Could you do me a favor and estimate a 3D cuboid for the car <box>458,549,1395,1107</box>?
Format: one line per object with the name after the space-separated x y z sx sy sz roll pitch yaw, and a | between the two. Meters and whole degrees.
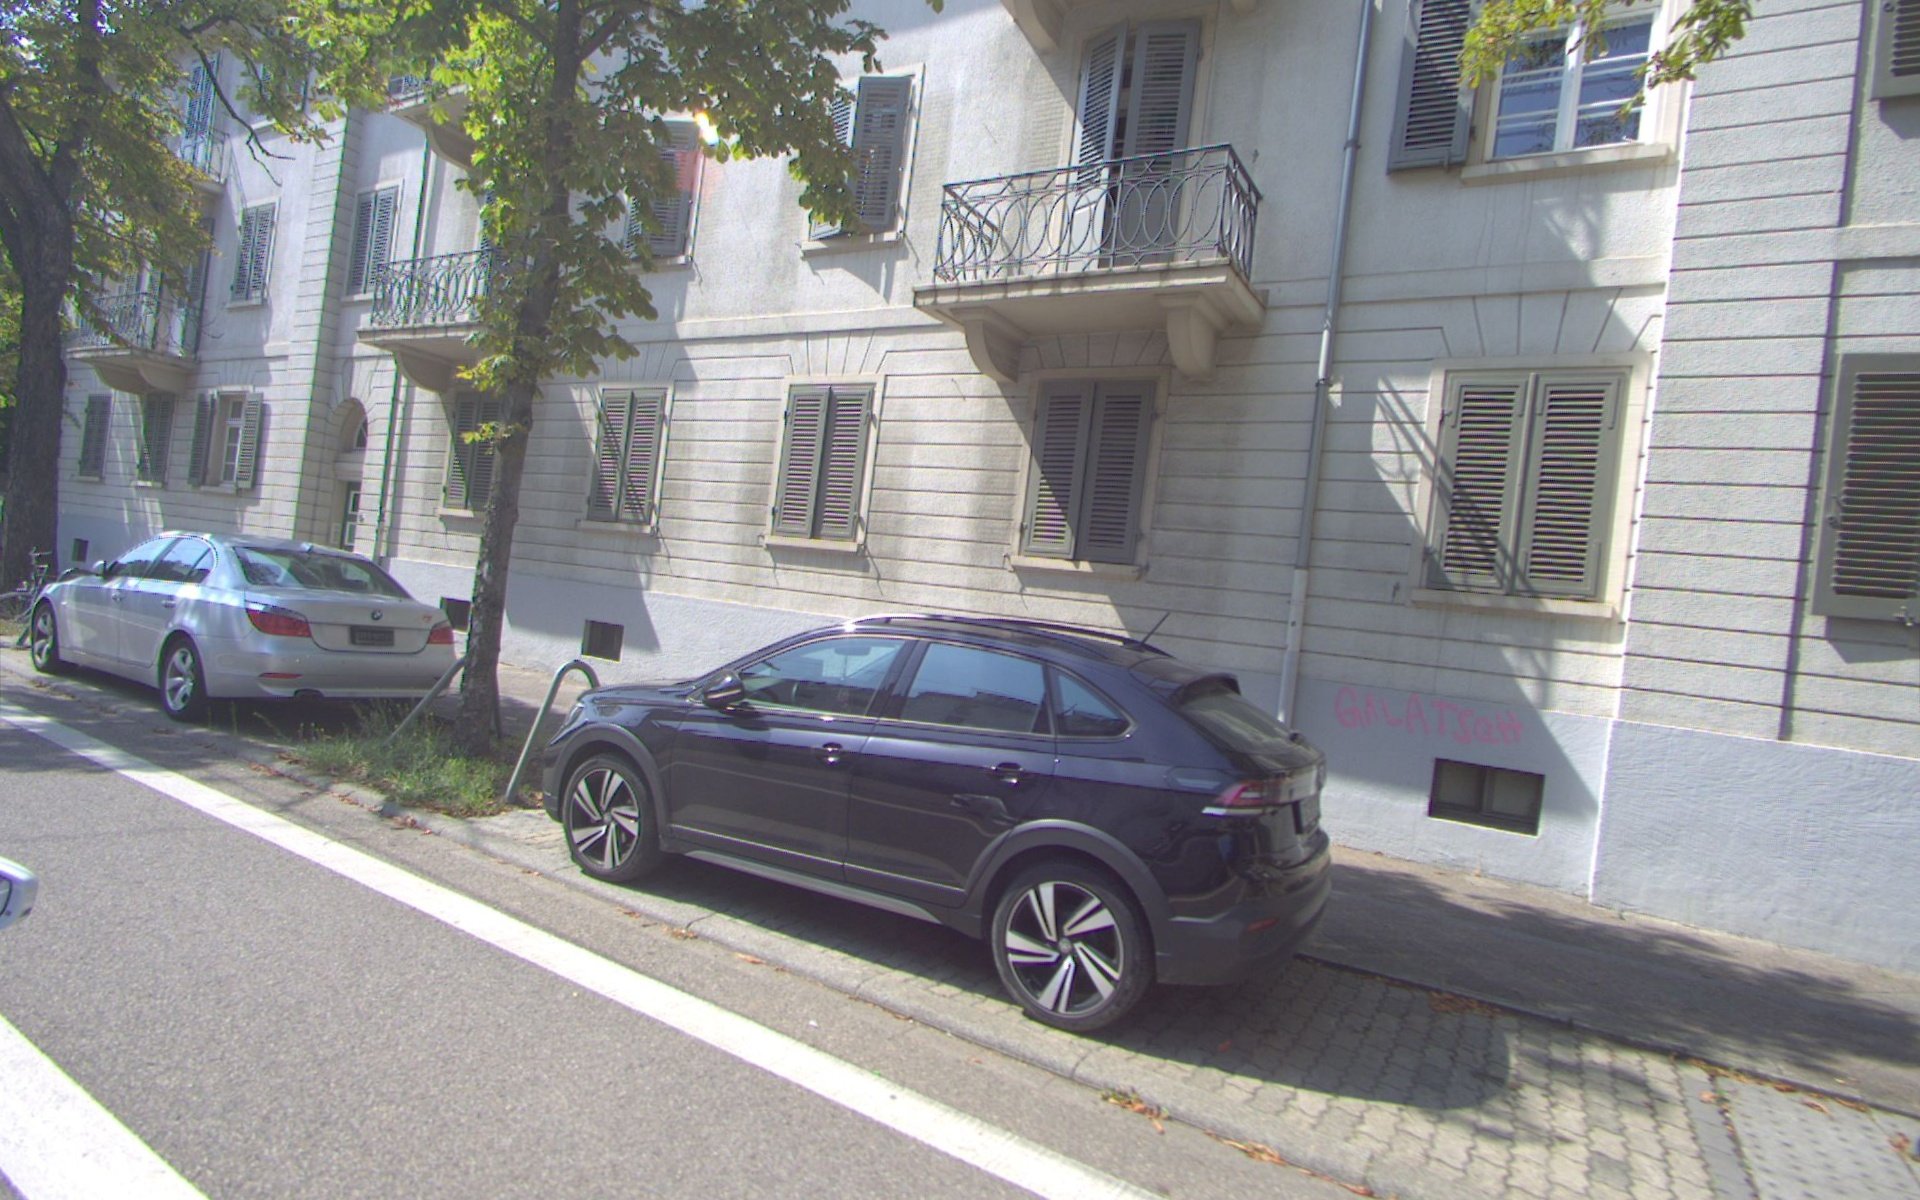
-0.279 0.775 5.105 4.356 1.525 1.667 7 0 26 | car

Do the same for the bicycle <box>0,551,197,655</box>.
-9.778 0.036 11.140 0.709 0.964 1.925 7 -1 34 | bicycle

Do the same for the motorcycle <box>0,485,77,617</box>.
-12.560 -0.695 13.274 2.377 1.572 0.885 6 0 39 | motorcycle

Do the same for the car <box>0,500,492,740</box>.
-6.589 0.094 9.091 4.670 1.468 1.786 7 0 29 | car
